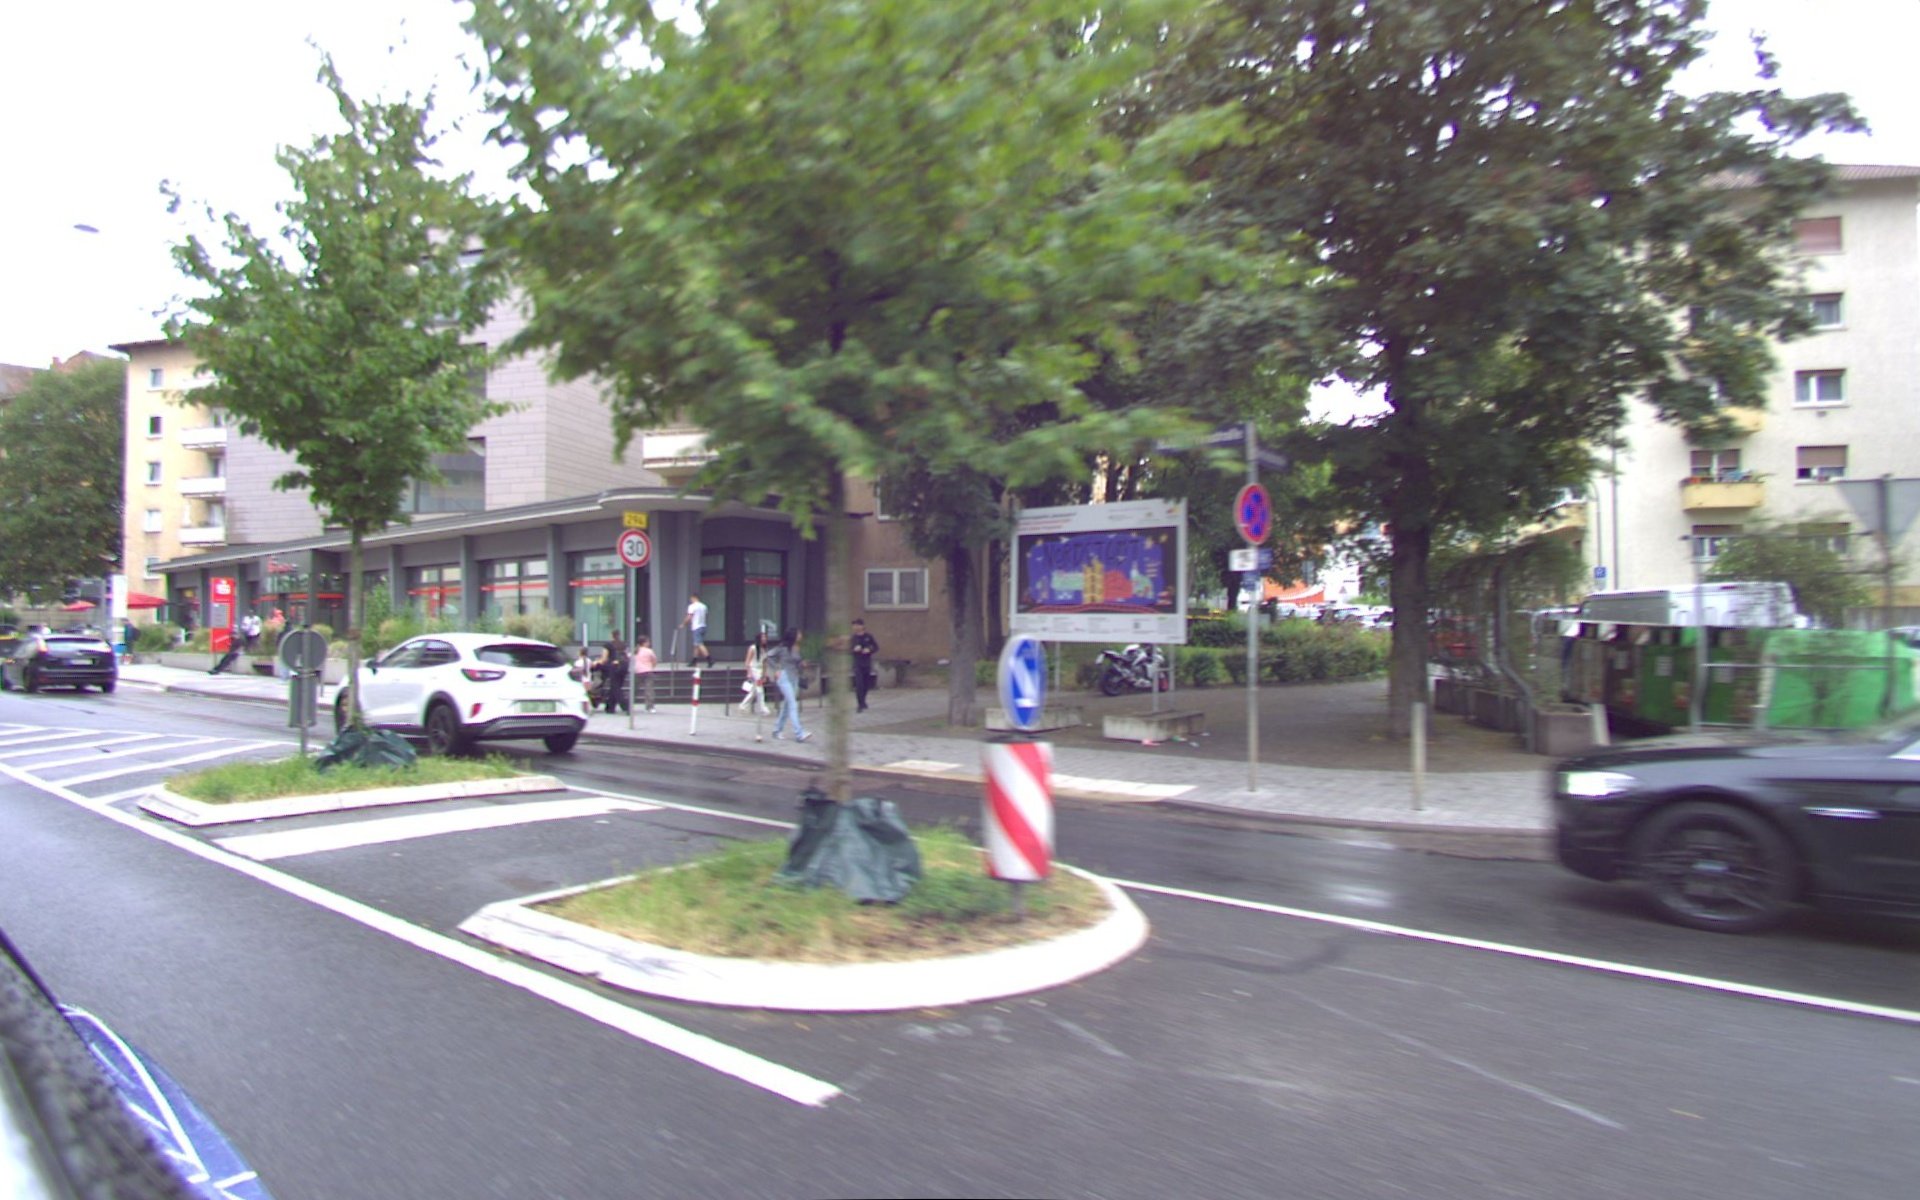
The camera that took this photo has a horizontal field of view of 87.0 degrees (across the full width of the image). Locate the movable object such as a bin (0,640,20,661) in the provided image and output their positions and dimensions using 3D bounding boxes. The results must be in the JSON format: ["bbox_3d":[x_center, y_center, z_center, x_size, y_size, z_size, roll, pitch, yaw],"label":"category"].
[{"bbox_3d":[-49.896,2.655,52.933,0.804,1.066,0.740,0,-1,12],"label":"movable object such as a bin"}]

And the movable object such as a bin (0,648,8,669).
[{"bbox_3d":[-50.670,3.083,53.305,0.579,1.066,0.732,0,-1,41],"label":"movable object such as a bin"}]

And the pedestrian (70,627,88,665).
[{"bbox_3d":[-36.624,1.907,42.064,0.532,1.561,0.433,-1,-2,37],"label":"pedestrian"}]

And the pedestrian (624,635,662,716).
[{"bbox_3d":[-5.925,1.397,18.932,0.529,1.484,0.456,-1,-1,34],"label":"pedestrian"}]

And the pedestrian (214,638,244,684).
[{"bbox_3d":[-23.674,1.963,32.785,0.582,1.431,0.727,0,-1,-18],"label":"pedestrian"}]

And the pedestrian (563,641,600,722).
[{"bbox_3d":[-6.804,1.450,18.204,0.480,1.421,0.429,-1,-1,34],"label":"pedestrian"}]

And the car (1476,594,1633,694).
[{"bbox_3d":[14.581,1.075,25.101,1.978,2.273,3.988,0,-2,9],"label":"car"}]

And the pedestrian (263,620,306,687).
[{"bbox_3d":[-18.835,1.492,28.216,0.716,1.840,0.719,-2,-1,18],"label":"pedestrian"}]

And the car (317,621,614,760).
[{"bbox_3d":[-6.658,1.147,13.503,4.081,1.581,1.803,-1,-6,36],"label":"car"}]

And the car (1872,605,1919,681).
[{"bbox_3d":[19.303,0.814,18.782,1.677,1.475,3.985,0,-1,12],"label":"car"}]

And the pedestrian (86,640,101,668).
[{"bbox_3d":[-34.803,2.174,40.646,0.385,1.125,0.388,-1,-2,37],"label":"pedestrian"}]

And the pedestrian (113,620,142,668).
[{"bbox_3d":[-32.420,1.713,39.400,0.867,1.833,0.585,-1,-1,29],"label":"pedestrian"}]

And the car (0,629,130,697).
[{"bbox_3d":[-22.897,1.542,25.563,4.234,1.569,1.937,-1,-3,36],"label":"car"}]

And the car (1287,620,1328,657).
[{"bbox_3d":[19.947,2.187,58.213,1.983,2.029,3.978,-1,-2,17],"label":"car"}]

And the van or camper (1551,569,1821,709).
[{"bbox_3d":[13.383,0.632,19.102,2.186,2.283,4.607,-2,0,8],"label":"van or camper"}]

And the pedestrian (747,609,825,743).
[{"bbox_3d":[-2.461,1.059,14.378,0.847,1.840,0.720,-2,-1,15],"label":"pedestrian"}]

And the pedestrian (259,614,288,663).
[{"bbox_3d":[-23.770,1.319,35.041,0.701,1.691,0.803,0,-1,-25],"label":"pedestrian"}]

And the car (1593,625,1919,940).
[{"bbox_3d":[5.770,0.836,4.826,4.493,1.436,1.995,-1,-2,38],"label":"car"}]

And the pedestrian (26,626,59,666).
[{"bbox_3d":[-41.653,2.080,45.931,0.755,1.721,0.789,-1,0,12],"label":"pedestrian"}]

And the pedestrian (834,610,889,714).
[{"bbox_3d":[-1.805,1.124,18.683,0.690,1.859,0.855,-1,-2,23],"label":"pedestrian"}]

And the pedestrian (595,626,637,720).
[{"bbox_3d":[-6.287,1.315,18.511,0.551,1.686,0.493,-1,-1,34],"label":"pedestrian"}]

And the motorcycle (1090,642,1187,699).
[{"bbox_3d":[3.722,1.437,21.021,2.026,0.995,0.798,-2,0,-38],"label":"motorcycle"}]

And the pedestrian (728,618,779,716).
[{"bbox_3d":[-3.797,1.215,18.630,0.714,1.772,0.654,-1,-2,14],"label":"pedestrian"}]

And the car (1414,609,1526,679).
[{"bbox_3d":[15.743,1.321,31.483,1.978,2.029,3.988,0,-1,9],"label":"car"}]

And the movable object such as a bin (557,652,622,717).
[{"bbox_3d":[-6.944,1.570,18.970,0.963,1.143,0.697,-1,0,34],"label":"movable object such as a bin"}]

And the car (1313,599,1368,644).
[{"bbox_3d":[18.001,1.031,48.031,1.981,2.029,3.980,-1,-2,15],"label":"car"}]

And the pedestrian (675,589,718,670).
[{"bbox_3d":[-6.091,0.676,23.435,0.714,1.840,0.721,-1,-1,10],"label":"pedestrian"}]

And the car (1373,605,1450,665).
[{"bbox_3d":[16.262,1.270,36.636,1.983,2.029,3.978,-1,-2,17],"label":"car"}]

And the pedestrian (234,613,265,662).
[{"bbox_3d":[-24.800,1.291,35.339,0.712,1.691,0.707,-1,-2,37],"label":"pedestrian"}]

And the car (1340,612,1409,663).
[{"bbox_3d":[17.448,1.587,42.770,1.980,2.029,3.984,-1,-2,12],"label":"car"}]
